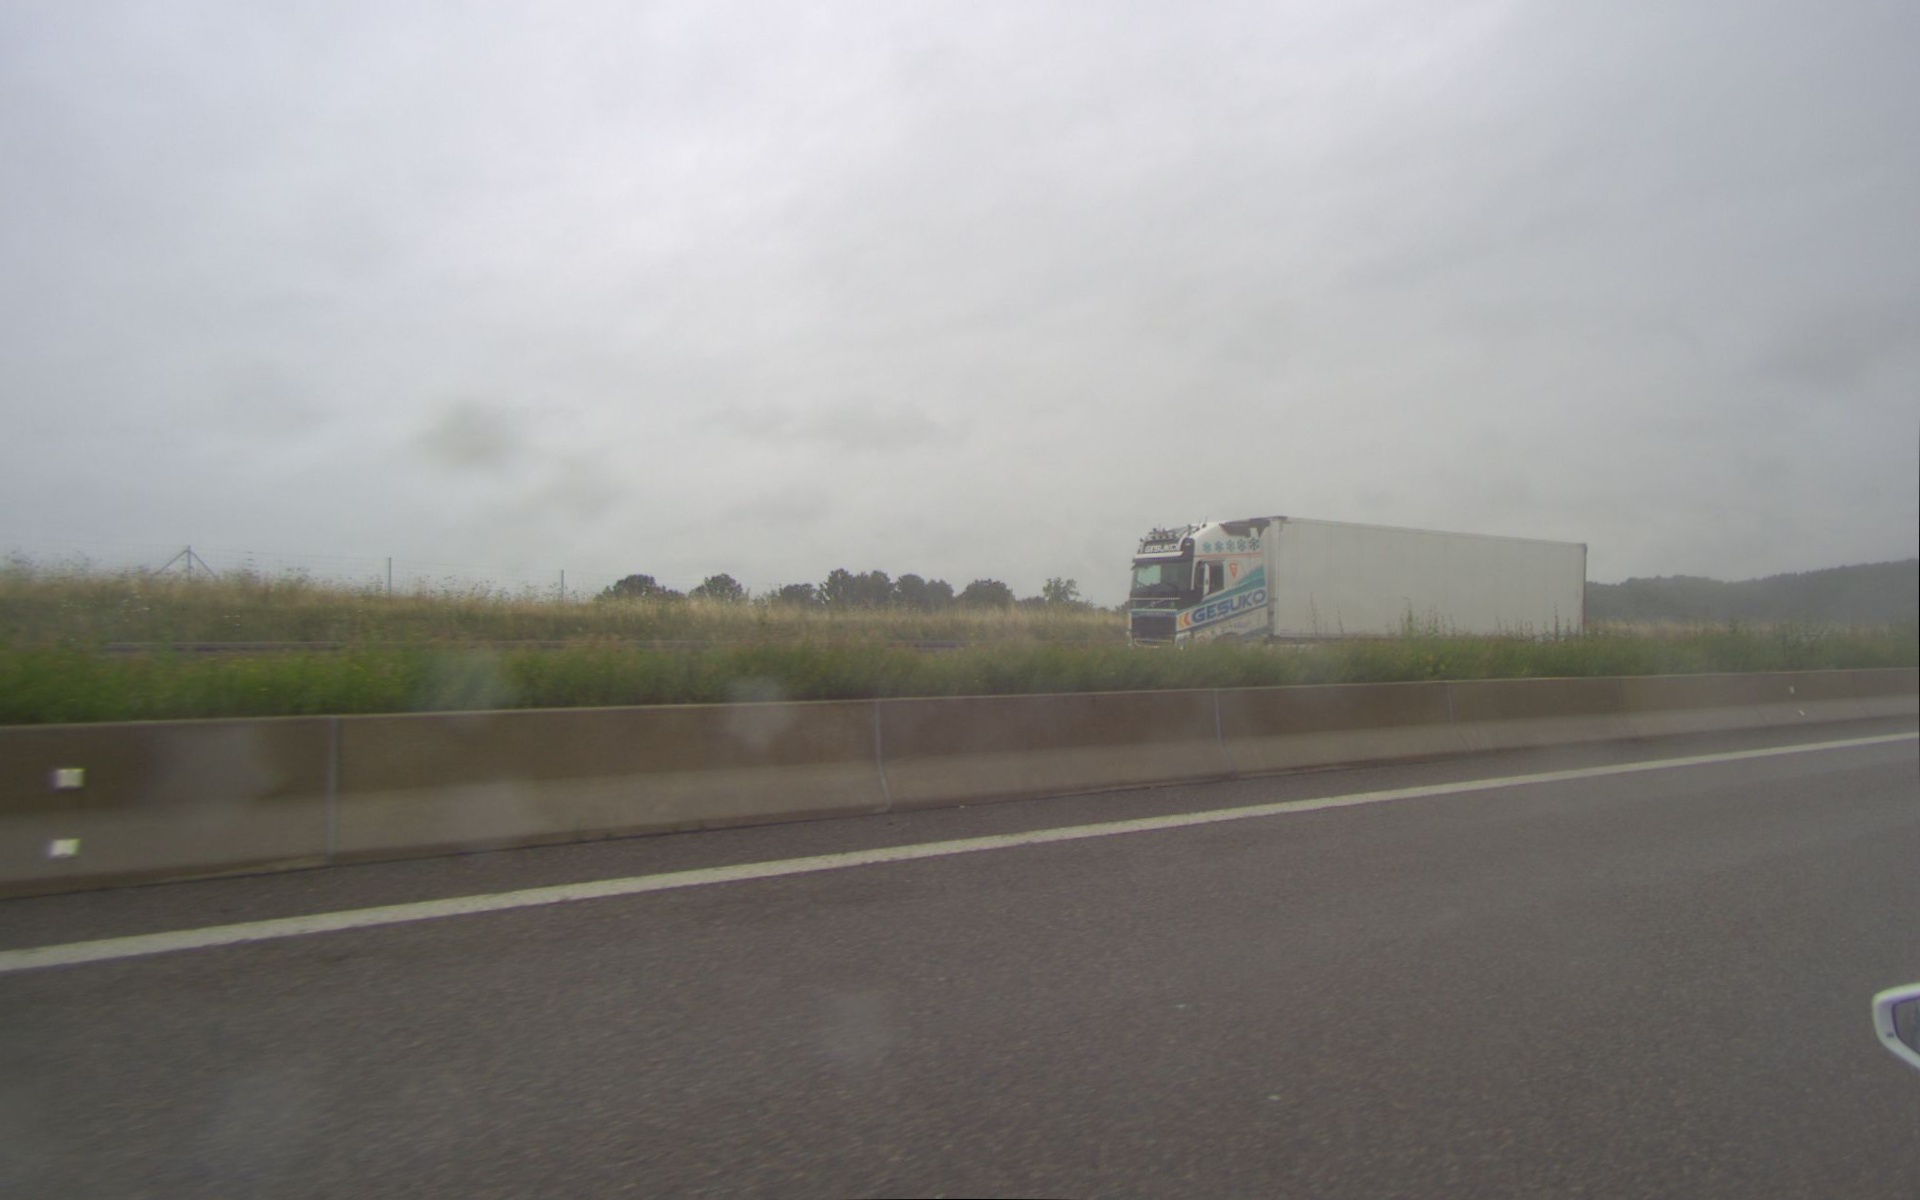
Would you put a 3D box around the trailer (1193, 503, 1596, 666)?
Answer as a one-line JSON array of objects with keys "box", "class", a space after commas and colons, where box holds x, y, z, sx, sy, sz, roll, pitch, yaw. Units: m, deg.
[{"box": [13.233, -0.237, 29.554, 14.132, 4.035, 2.931, 1, 0, -30], "class": "trailer"}]

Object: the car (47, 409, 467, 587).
[{"box": [-6.508, -0.856, 9.642, 3.085, 1.363, 1.344, 1, 0, -31], "class": "car"}]

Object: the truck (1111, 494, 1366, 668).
[{"box": [7.299, -0.371, 26.221, 6.142, 4.047, 2.940, 1, 0, -29], "class": "truck"}]
